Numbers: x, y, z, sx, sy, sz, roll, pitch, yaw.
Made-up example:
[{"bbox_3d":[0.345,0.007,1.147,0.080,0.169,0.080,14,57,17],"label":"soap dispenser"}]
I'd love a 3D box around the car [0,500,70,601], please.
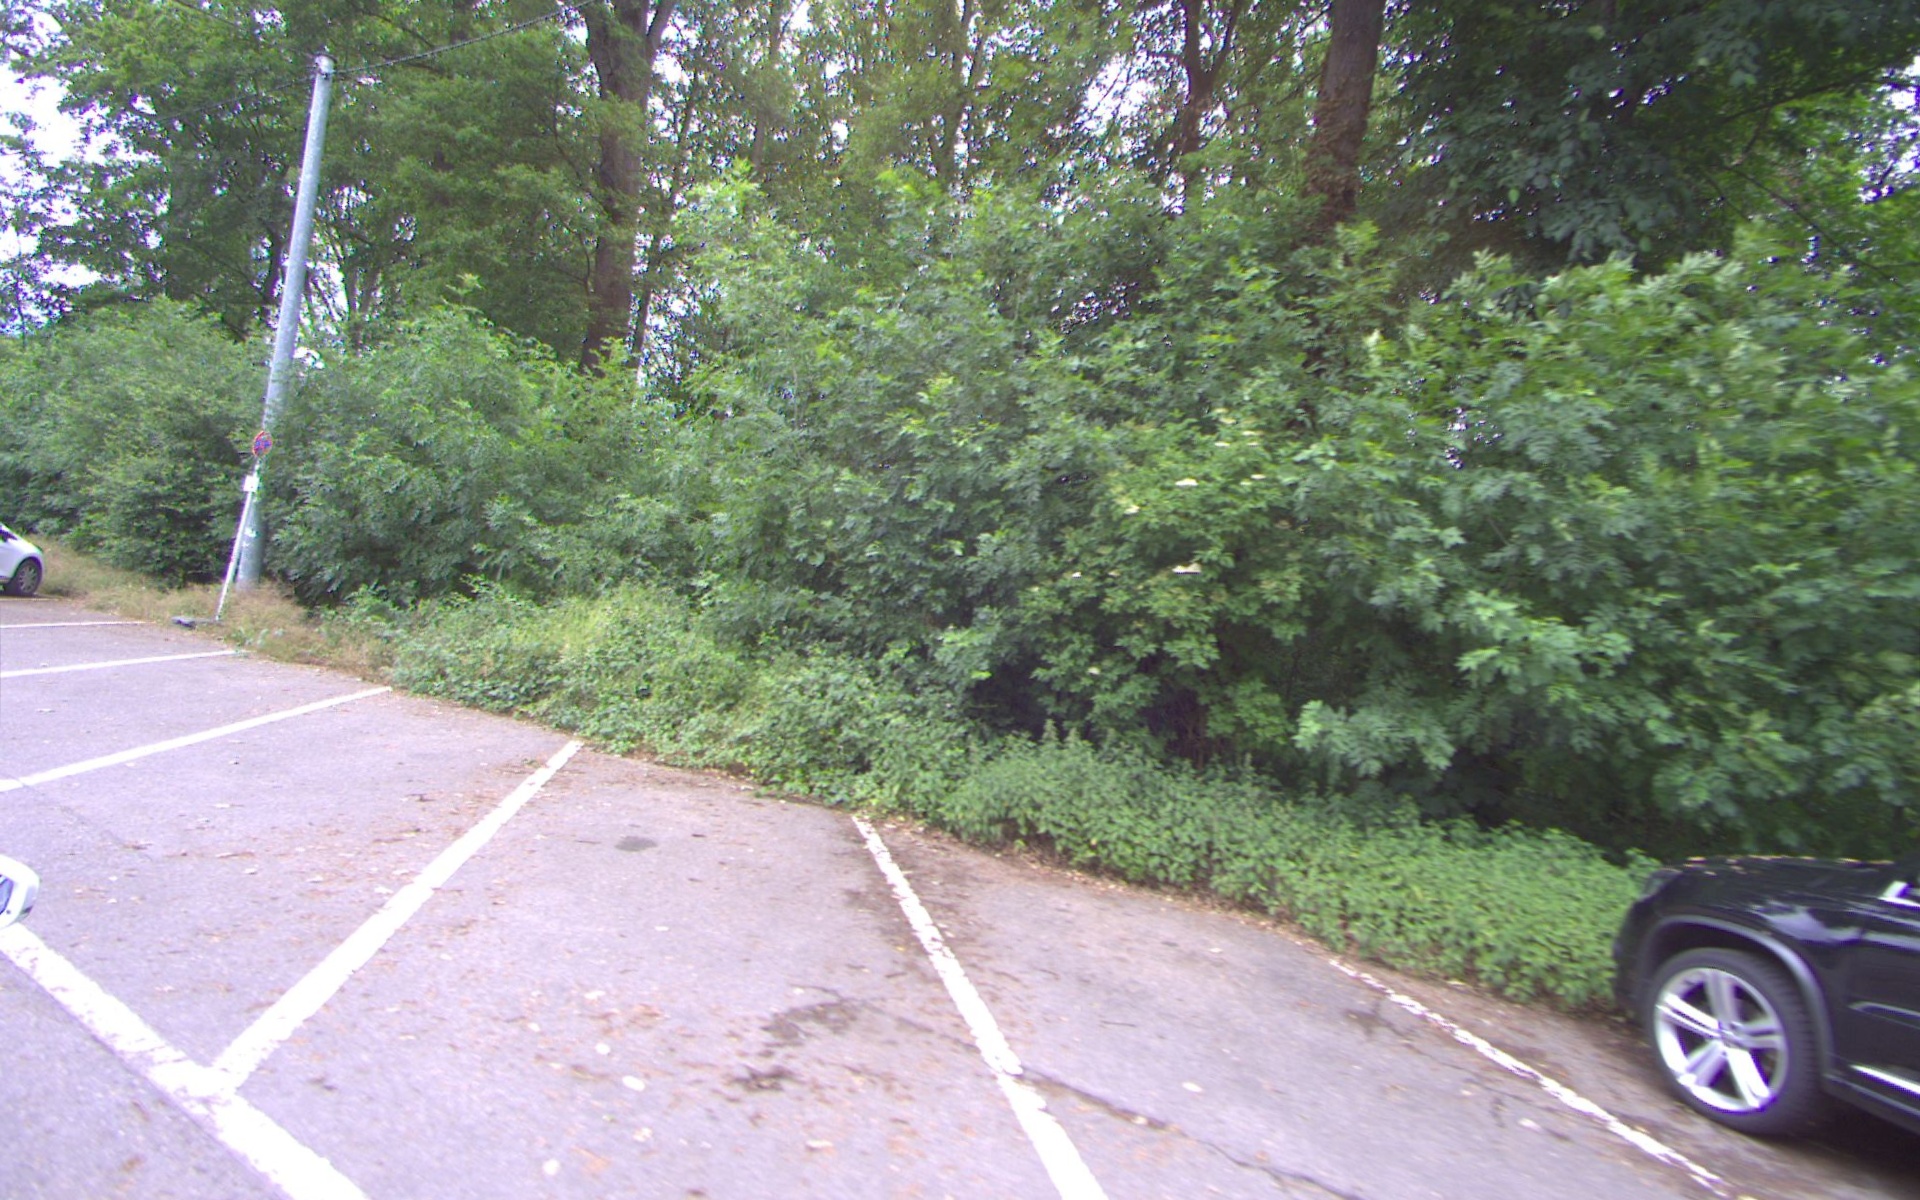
[{"bbox_3d":[-15.356,-0.881,14.559,1.840,1.528,3.993,8,-2,-12],"label":"car"}]

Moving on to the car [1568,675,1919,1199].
[{"bbox_3d":[4.193,1.315,2.881,1.755,1.704,4.064,8,-2,-11],"label":"car"}]
